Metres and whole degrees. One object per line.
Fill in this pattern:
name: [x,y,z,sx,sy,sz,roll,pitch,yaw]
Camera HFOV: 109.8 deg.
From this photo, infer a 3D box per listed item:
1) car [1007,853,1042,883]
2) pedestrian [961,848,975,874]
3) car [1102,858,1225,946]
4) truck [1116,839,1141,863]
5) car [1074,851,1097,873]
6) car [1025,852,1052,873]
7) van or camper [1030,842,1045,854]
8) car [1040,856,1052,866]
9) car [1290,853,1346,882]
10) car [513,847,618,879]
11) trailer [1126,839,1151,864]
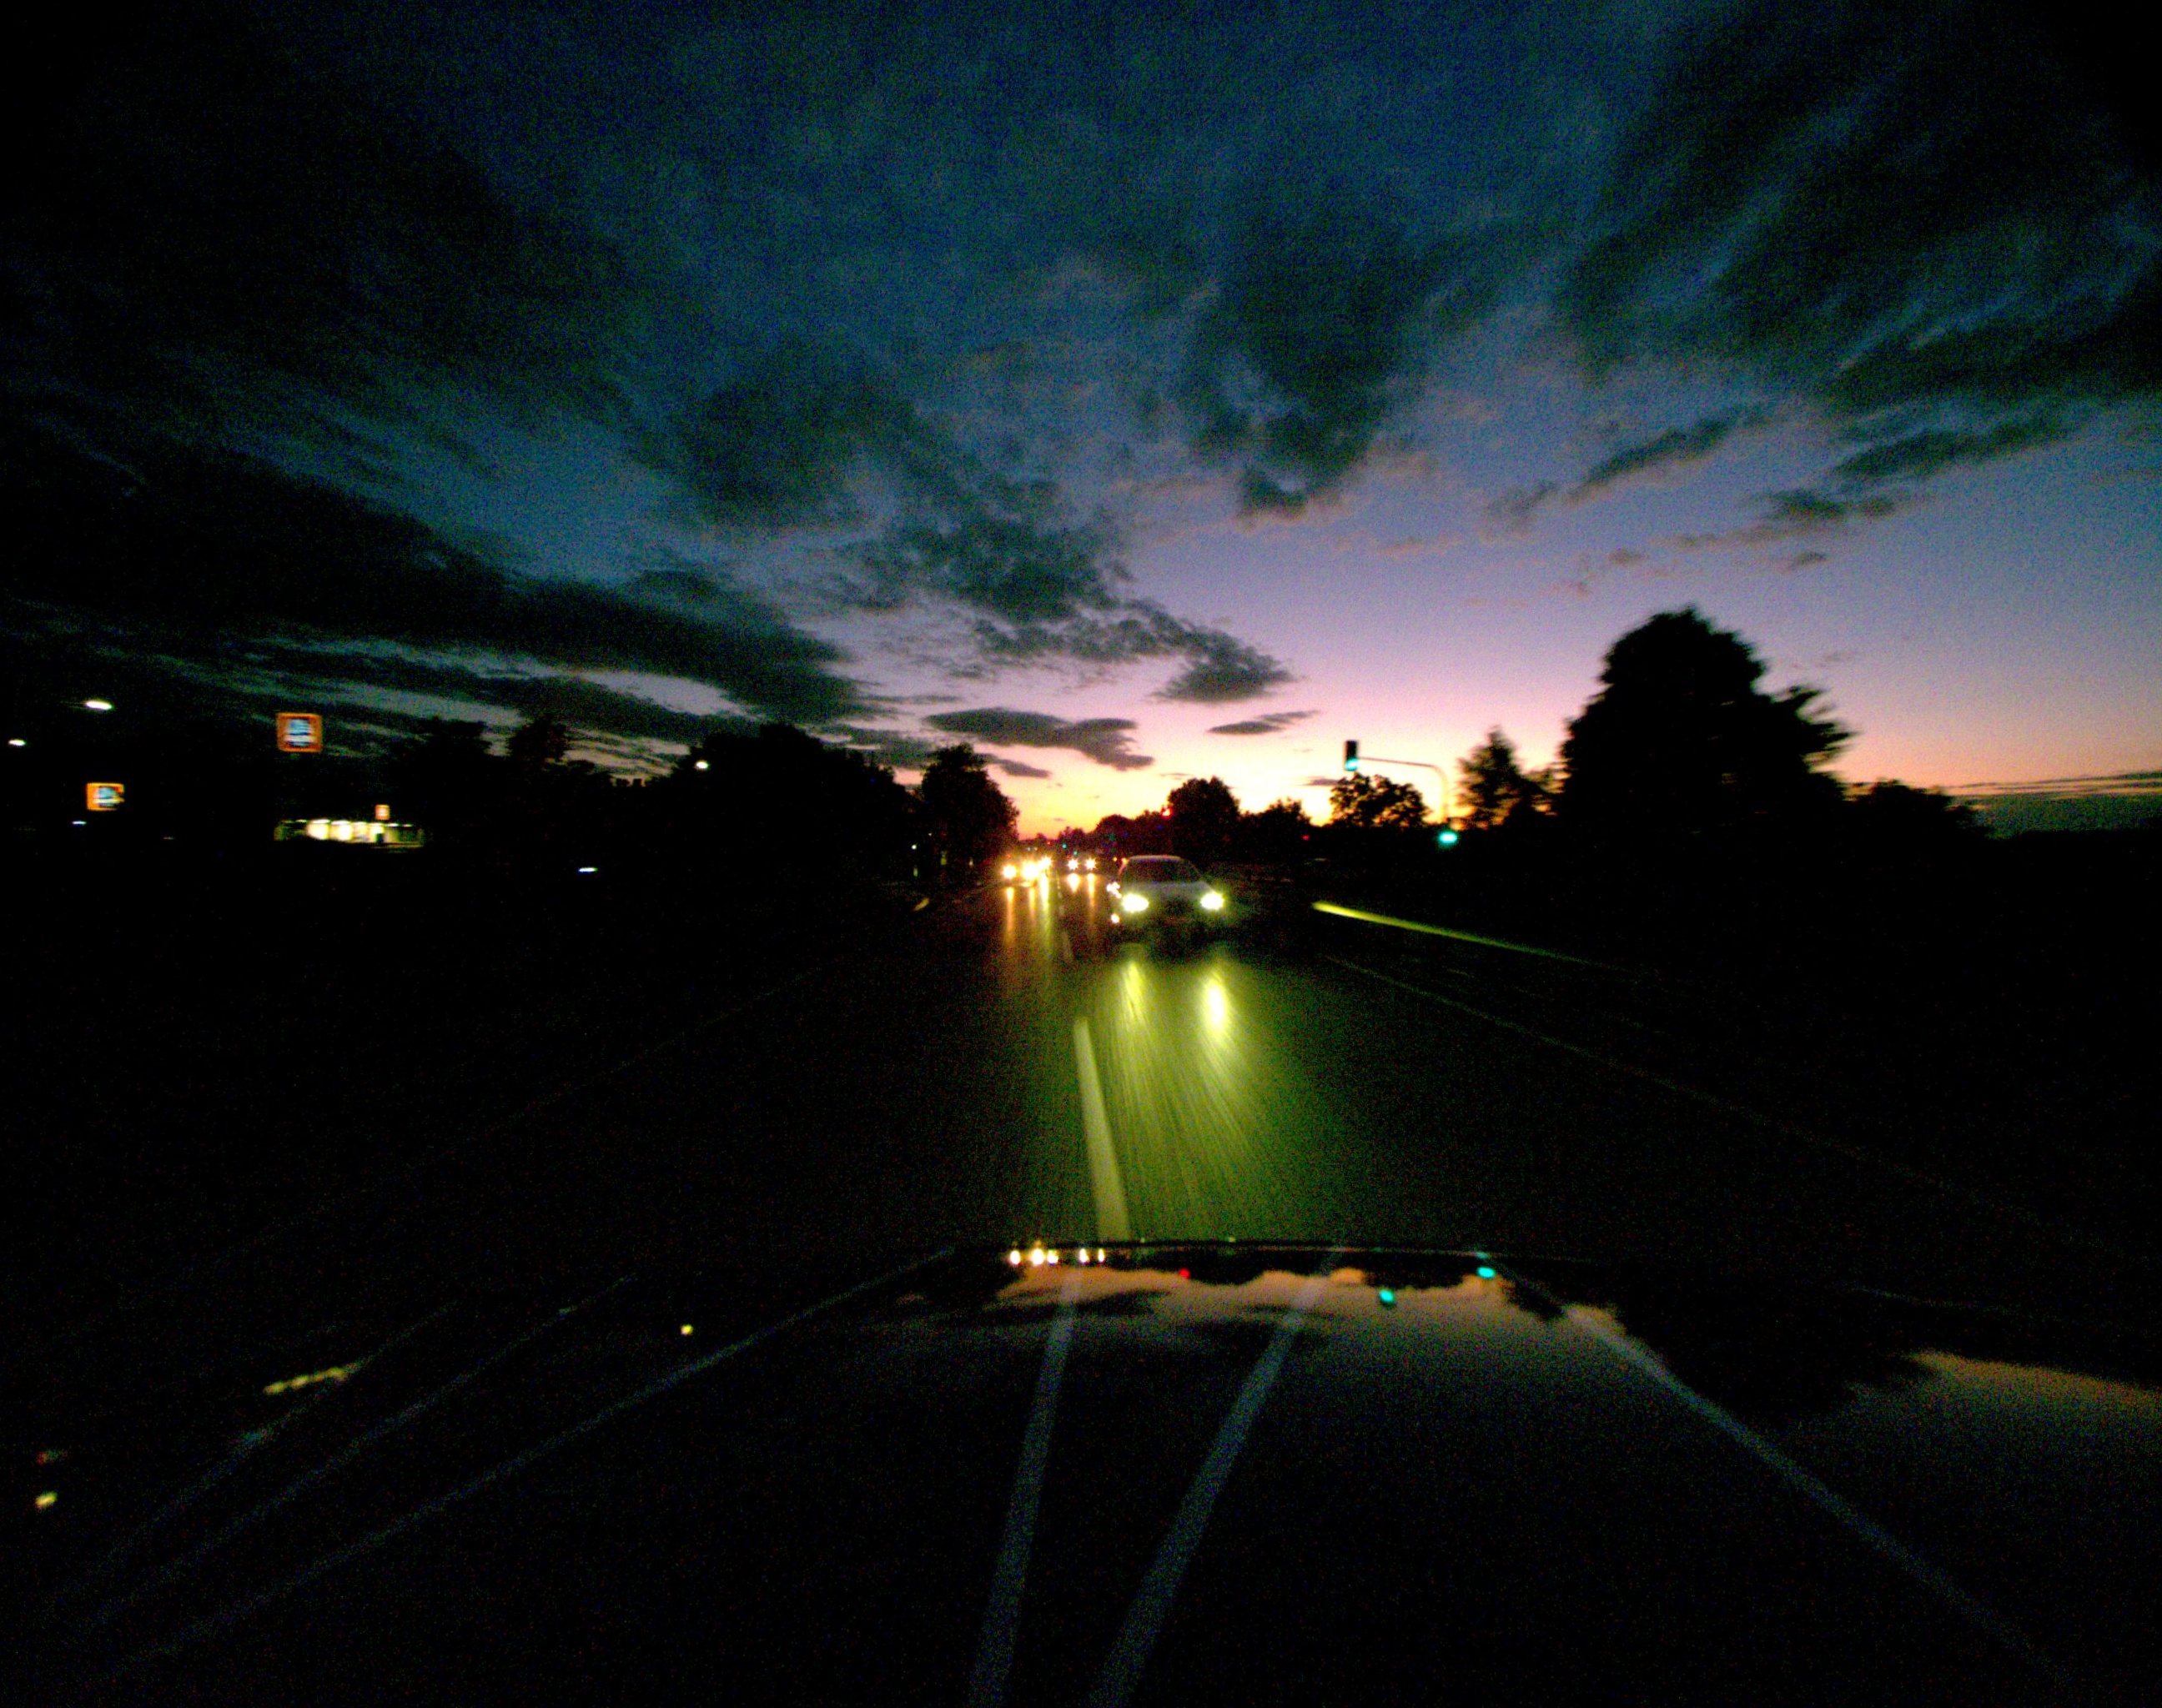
car: [-3.034,0.752,41.314,1.663,1.528,3.714,-1,0,-1]
pedestrian: [-8.855,0.514,59.380,0.782,2.002,0.712,-3,2,-40]
car: [1.466,0.837,15.274,1.819,1.428,4.645,-2,0,-1]
truck: [8.330,-0.543,133.927,2.734,4.093,10.339,-1,1,-5]
car: [0.364,0.643,62.868,1.760,1.692,4.249,-2,0,-1]
car: [-3.261,0.650,59.126,1.902,1.547,4.300,-3,0,-1]
van or camper: [-12.309,-1.605,213.697,3.950,3.107,9.939,0,0,-2]
car: [-4.951,1.027,106.422,1.607,1.291,3.551,-2,1,-4]
car: [12.990,0.707,41.839,1.656,1.376,4.028,-2,1,-3]
car: [-27.688,0.492,40.985,4.485,1.654,1.995,1,0,-28]
trailer: [9.290,-0.472,124.230,2.584,3.920,8.871,2,1,-5]
